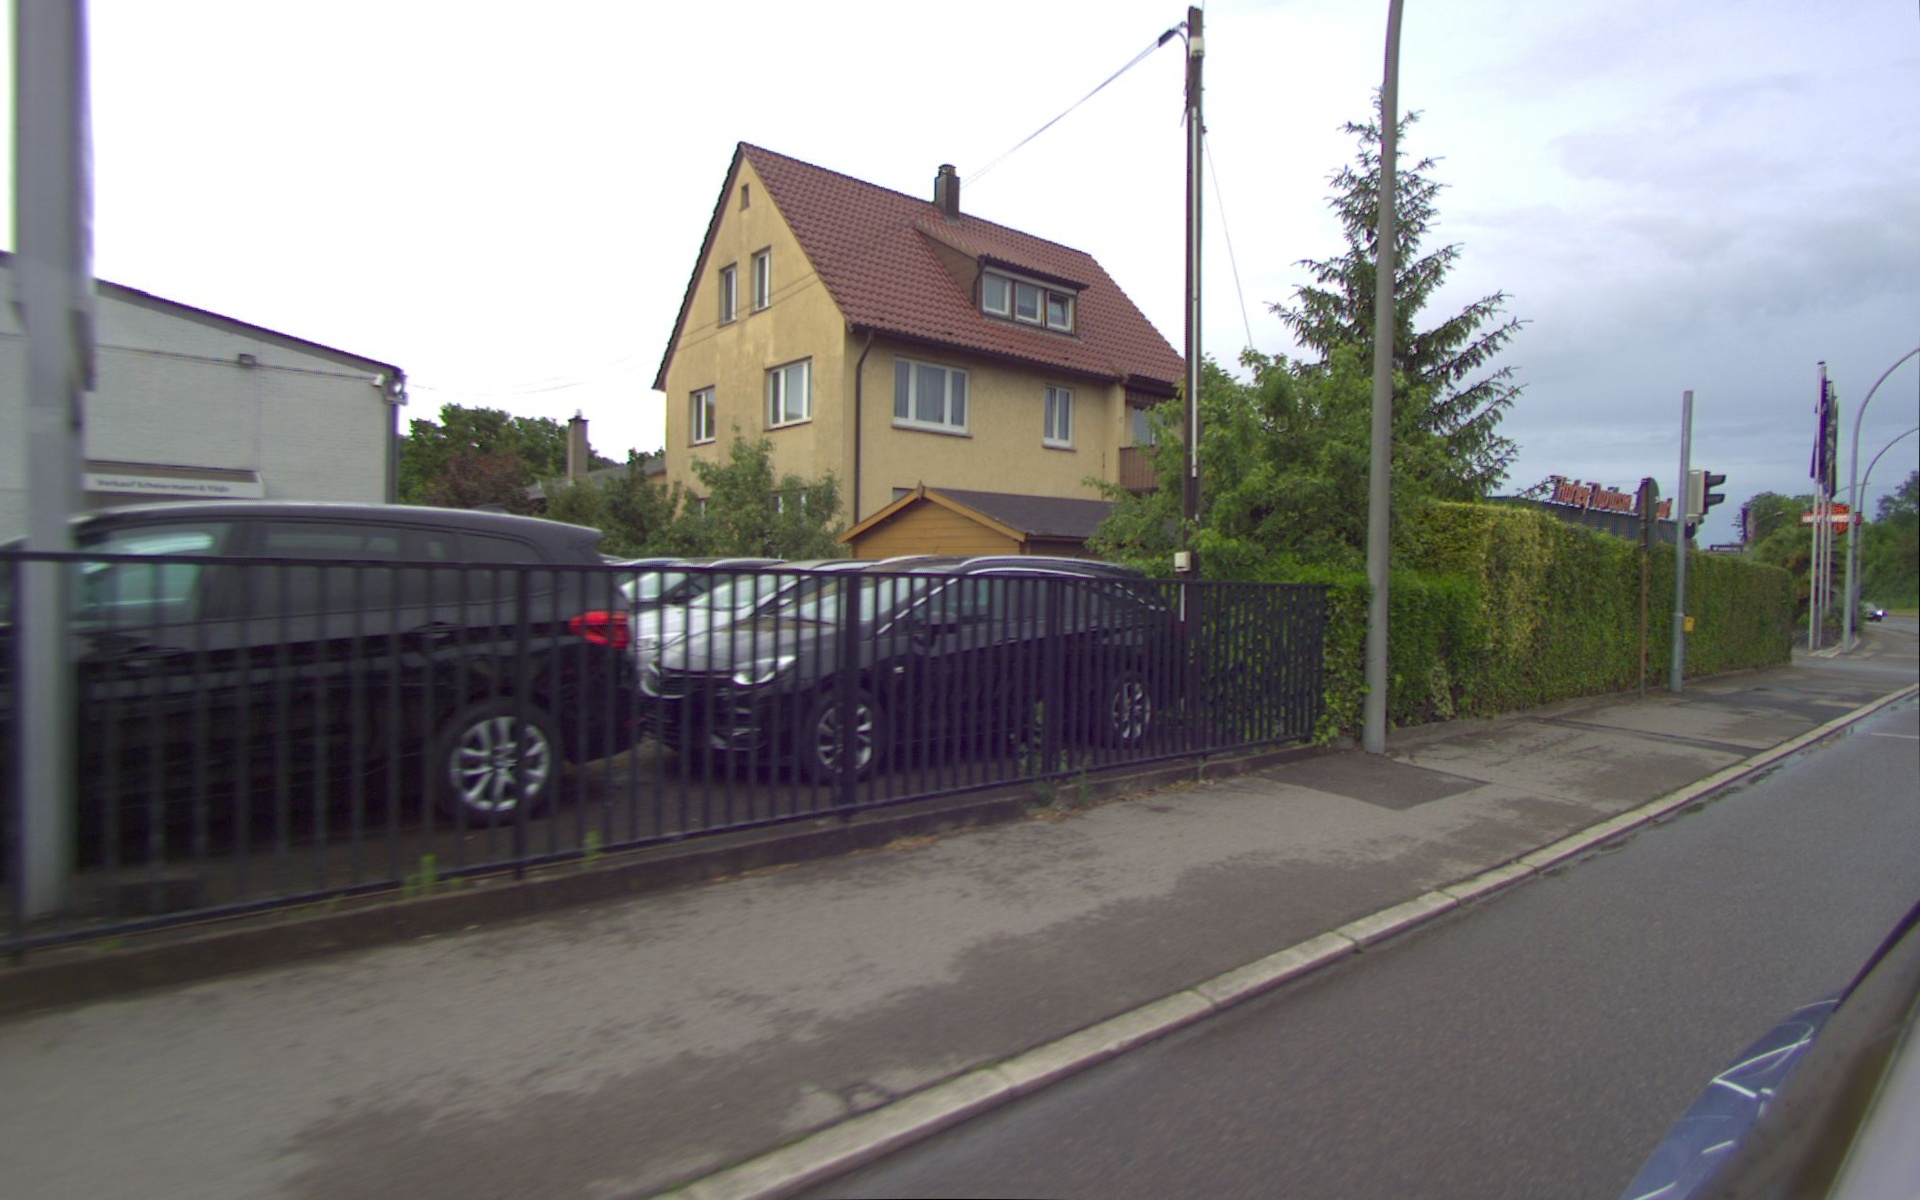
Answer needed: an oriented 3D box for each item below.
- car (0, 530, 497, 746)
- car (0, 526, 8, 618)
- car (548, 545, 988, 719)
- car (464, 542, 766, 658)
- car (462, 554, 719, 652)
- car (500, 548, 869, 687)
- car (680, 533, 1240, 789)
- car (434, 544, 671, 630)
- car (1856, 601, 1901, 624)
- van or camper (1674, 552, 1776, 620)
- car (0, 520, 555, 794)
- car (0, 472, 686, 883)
[{"bbox_3d":[-6.405,0.236,8.935,3.926,1.586,1.666,-2,1,-37],"label":"car"},{"bbox_3d":[-17.689,-0.386,15.880,3.934,1.498,1.995,-3,1,-43],"label":"car"},{"bbox_3d":[-1.784,0.197,9.885,3.832,1.371,1.742,-2,1,-36],"label":"car"},{"bbox_3d":[-4.592,-0.044,13.782,1.583,1.371,3.554,-1,1,44],"label":"car"},{"bbox_3d":[-5.750,-0.004,15.993,1.583,1.371,3.454,-1,1,44],"label":"car"},{"bbox_3d":[-3.090,0.115,11.811,3.838,1.371,1.585,-3,1,-42],"label":"car"},{"bbox_3d":[0.165,0.359,7.762,4.166,1.475,1.666,0,-1,-38],"label":"car"},{"bbox_3d":[-7.130,-0.260,17.895,3.550,1.371,1.585,-3,1,-42],"label":"car"},{"bbox_3d":[70.423,0.931,77.667,1.825,1.639,3.954,2,1,32],"label":"car"},{"bbox_3d":[31.952,-0.570,42.185,6.474,2.625,2.045,0,1,-41],"label":"van or camper"},{"bbox_3d":[-5.168,0.299,7.195,3.926,1.586,1.666,-2,1,-37],"label":"car"},{"bbox_3d":[-3.807,0.287,4.871,4.482,1.586,1.666,-2,1,-37],"label":"car"}]
